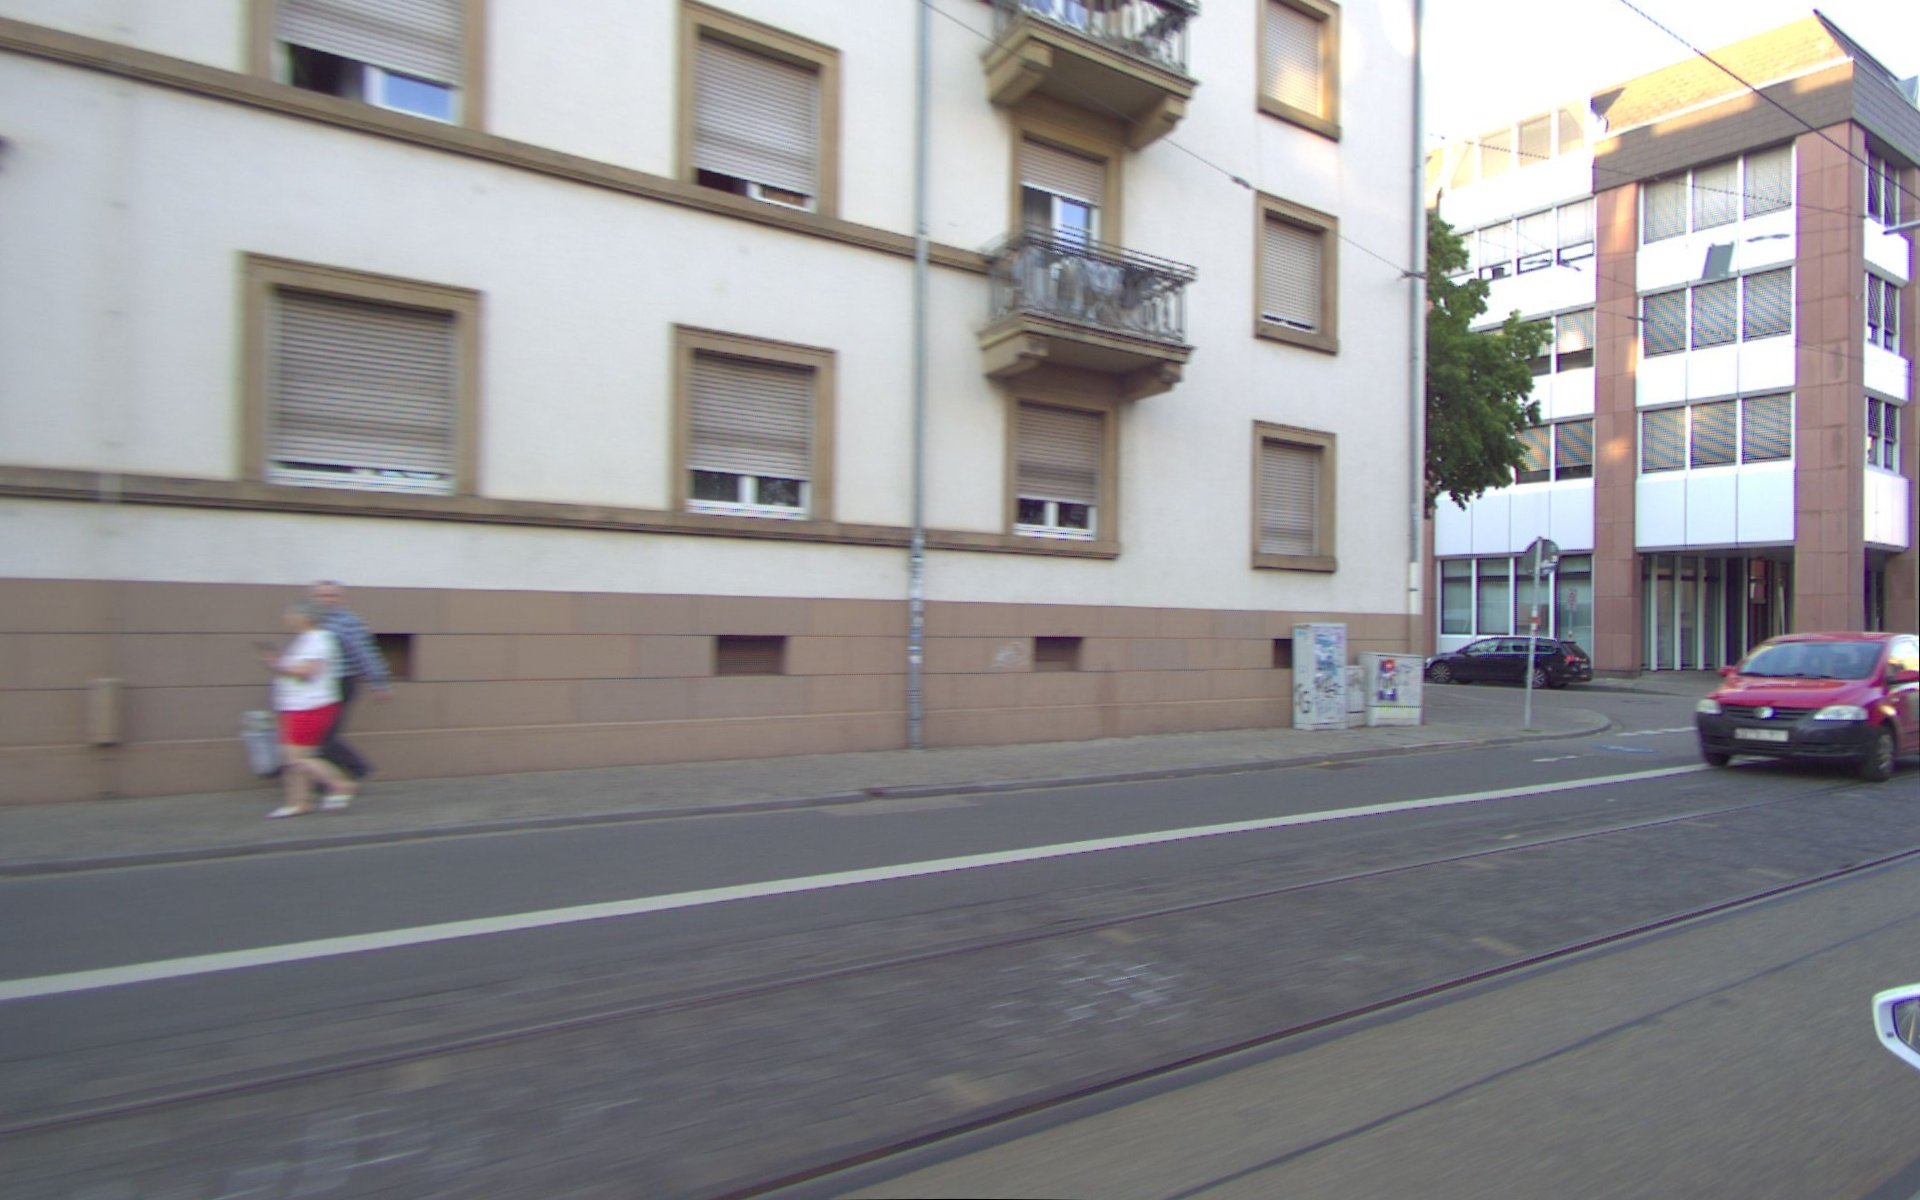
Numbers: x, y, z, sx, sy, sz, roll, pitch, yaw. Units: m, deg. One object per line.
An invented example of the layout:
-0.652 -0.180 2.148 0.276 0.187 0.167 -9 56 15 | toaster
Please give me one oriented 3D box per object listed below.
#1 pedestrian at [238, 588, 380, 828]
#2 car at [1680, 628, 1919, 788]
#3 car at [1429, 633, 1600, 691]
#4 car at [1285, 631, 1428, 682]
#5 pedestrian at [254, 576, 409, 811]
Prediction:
-4.719 0.746 7.312 0.802 1.631 0.587 1 -1 -33 | pedestrian
10.077 1.133 11.576 3.712 1.578 1.551 1 -3 -31 | car
16.031 1.775 29.186 1.906 1.524 3.958 4 -3 -37 | car
12.943 1.839 32.968 1.906 1.524 3.958 4 -3 -37 | car
-4.969 0.702 7.973 0.971 1.724 0.791 1 -1 -33 | pedestrian
